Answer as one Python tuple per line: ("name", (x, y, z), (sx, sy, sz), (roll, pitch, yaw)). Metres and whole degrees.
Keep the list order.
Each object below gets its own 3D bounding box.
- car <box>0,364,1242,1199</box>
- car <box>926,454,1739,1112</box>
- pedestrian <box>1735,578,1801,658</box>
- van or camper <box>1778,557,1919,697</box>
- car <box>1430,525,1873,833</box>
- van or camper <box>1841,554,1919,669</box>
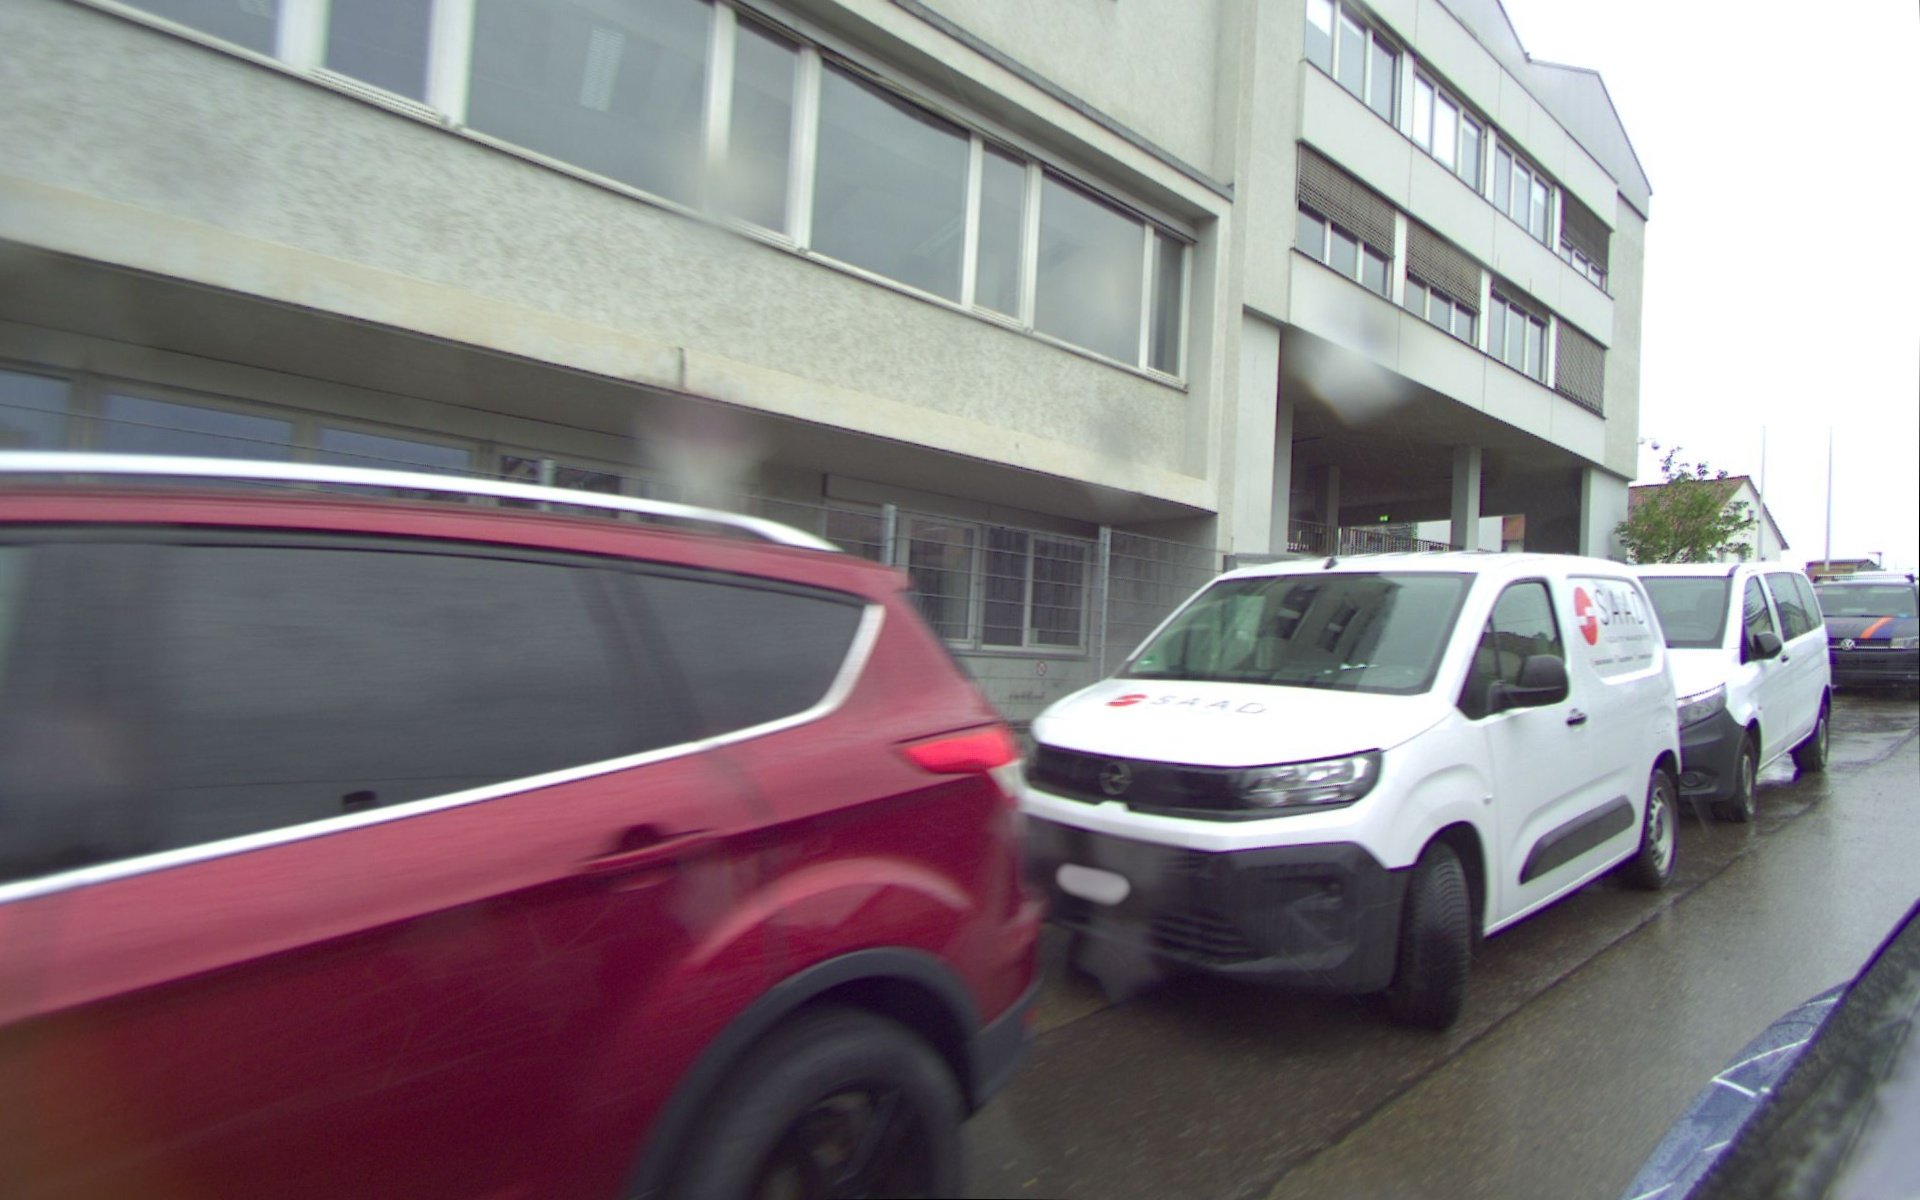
("car", (-1.773, 0.563, 1.750), (4.871, 1.665, 1.997), (0, 1, -41))
("car", (2.138, 0.509, 5.022), (4.410, 1.857, 1.882), (0, 1, -41))
("pedestrian", (18.807, 0.413, 23.563), (1.013, 1.781, 1.025), (3, 0, -43))
("van or camper", (16.128, 0.417, 17.705), (5.112, 2.140, 1.997), (1, 1, -42))
("car", (6.197, 0.496, 8.800), (4.888, 1.959, 1.997), (0, 1, -41))
("van or camper", (20.891, 0.257, 21.949), (5.347, 2.271, 1.997), (1, 1, -42))
